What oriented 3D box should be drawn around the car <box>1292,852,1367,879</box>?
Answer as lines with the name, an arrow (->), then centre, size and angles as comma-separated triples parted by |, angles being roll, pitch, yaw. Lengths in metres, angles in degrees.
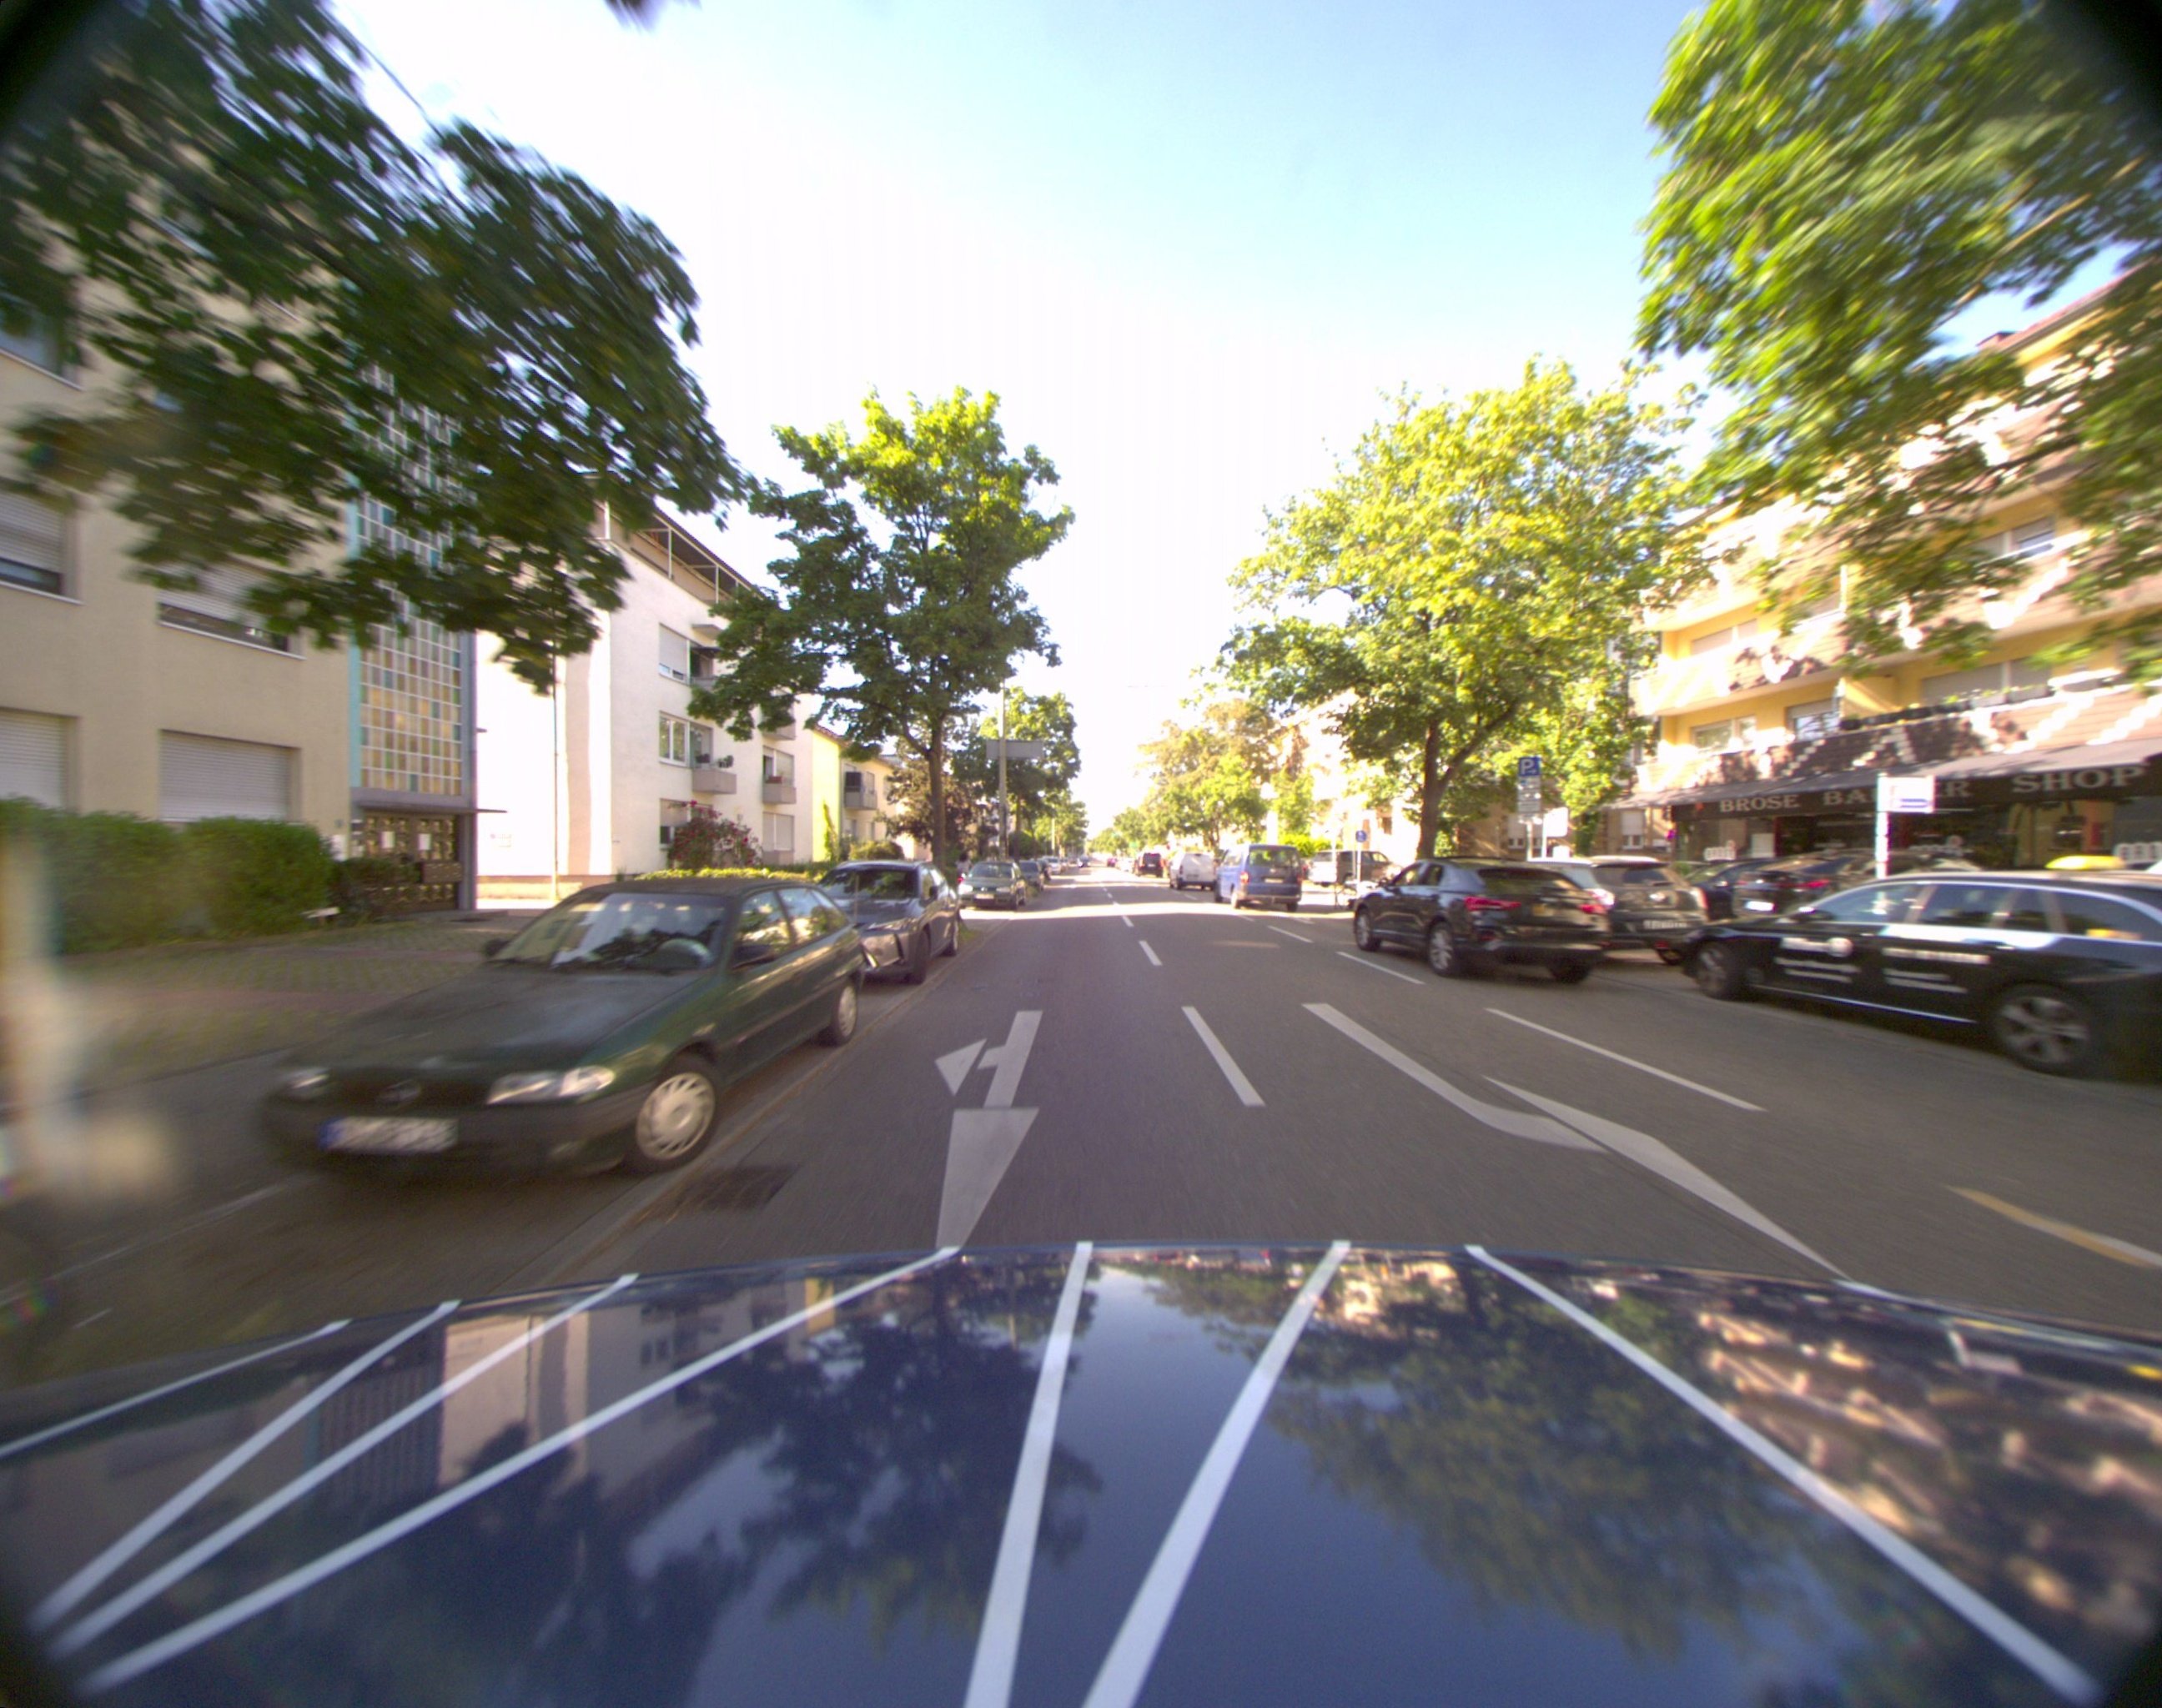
car -> 14.663, 0.671, 44.931 | 3.916, 1.480, 1.633 | -1, 0, 4

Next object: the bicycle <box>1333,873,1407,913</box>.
bicycle -> 8.325, 1.109, 21.882 | 1.932, 1.128, 0.463 | -1, 0, 28

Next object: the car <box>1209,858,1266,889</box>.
car -> 7.669, 0.922, 37.642 | 1.838, 1.381, 4.802 | -1, 0, 0

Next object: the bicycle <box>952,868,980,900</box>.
bicycle -> -4.241, 1.087, 28.077 | 0.684, 1.063, 2.127 | 0, 0, 0

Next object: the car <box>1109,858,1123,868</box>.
car -> 4.970, 1.249, 106.912 | 1.639, 1.395, 3.735 | 2, 0, -2

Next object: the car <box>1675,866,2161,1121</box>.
car -> 7.830, 0.932, 6.586 | 1.726, 1.527, 4.680 | -1, 0, 0

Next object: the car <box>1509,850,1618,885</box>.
car -> 21.555, 0.597, 34.028 | 3.792, 1.480, 1.646 | 0, 2, 0

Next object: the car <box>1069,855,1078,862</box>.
car -> -1.620, 0.897, 168.609 | 1.822, 1.541, 4.304 | 0, 0, 1

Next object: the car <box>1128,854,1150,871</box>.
car -> 5.351, 0.744, 70.666 | 1.696, 1.445, 4.173 | 2, 0, 0

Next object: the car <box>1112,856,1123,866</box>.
car -> 6.224, 1.236, 129.621 | 1.726, 1.607, 4.300 | 3, 0, 1

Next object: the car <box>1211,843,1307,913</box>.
car -> 5.371, 0.659, 23.532 | 1.807, 1.900, 4.711 | 2, 0, 0

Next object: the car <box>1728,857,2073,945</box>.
car -> 14.439, 0.815, 13.633 | 3.994, 1.452, 1.734 | -1, 0, 9

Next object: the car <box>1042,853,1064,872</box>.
car -> -2.399, 0.713, 66.371 | 1.773, 1.649, 4.340 | 1, 0, -1

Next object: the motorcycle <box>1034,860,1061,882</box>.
motorcycle -> -2.085, 1.033, 46.694 | 0.701, 1.264, 2.426 | 1, 0, -27

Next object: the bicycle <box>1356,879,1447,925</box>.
bicycle -> 7.908, 1.171, 18.800 | 2.025, 1.085, 0.463 | -1, 0, 23

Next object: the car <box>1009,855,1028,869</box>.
car -> -6.384, 0.804, 77.924 | 1.535, 1.348, 3.717 | 3, 0, 0

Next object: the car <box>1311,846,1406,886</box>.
car -> 13.877, 0.584, 38.054 | 4.333, 1.868, 1.876 | -1, 0, -23

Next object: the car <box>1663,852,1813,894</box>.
car -> 23.725, 0.678, 27.517 | 3.997, 1.433, 1.647 | 0, -1, 0

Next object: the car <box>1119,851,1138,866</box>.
car -> 5.030, 0.459, 80.660 | 1.737, 1.404, 4.192 | 2, 0, 0

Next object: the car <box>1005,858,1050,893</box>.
car -> -2.364, 0.926, 34.464 | 1.590, 1.388, 4.454 | 1, 0, 1

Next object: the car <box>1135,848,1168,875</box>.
car -> 5.474, 0.554, 59.706 | 2.021, 1.940, 5.177 | 2, 0, -1

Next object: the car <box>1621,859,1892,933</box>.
car -> 14.304, 0.872, 16.381 | 3.991, 1.447, 1.735 | -1, 0, 18

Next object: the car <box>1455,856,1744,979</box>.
car -> 8.004, 0.853, 12.282 | 1.727, 1.587, 4.135 | -1, 0, -2

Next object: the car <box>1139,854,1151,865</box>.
car -> 8.511, 0.729, 101.603 | 1.404, 1.480, 3.685 | -1, 0, 1

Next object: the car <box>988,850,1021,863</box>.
car -> -9.958, 0.341, 99.259 | 3.997, 1.432, 1.831 | 3, 0, 0

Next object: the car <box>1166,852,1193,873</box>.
car -> 8.027, 0.684, 62.226 | 1.629, 1.579, 4.347 | -2, 0, 0

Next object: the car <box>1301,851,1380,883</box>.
car -> 14.061, 0.696, 41.110 | 3.925, 1.635, 1.677 | -1, 0, -24

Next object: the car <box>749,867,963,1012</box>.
car -> -2.762, 0.962, 10.328 | 1.718, 1.480, 4.233 | 0, 0, -1

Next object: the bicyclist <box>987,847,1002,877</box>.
bicyclist -> -5.307, 0.495, 46.594 | 0.726, 1.783, 1.015 | 1, 1, 0

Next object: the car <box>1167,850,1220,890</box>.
car -> 5.327, 0.712, 36.439 | 1.820, 1.733, 4.492 | 2, 0, 0

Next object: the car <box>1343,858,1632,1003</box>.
car -> 5.374, 0.884, 10.819 | 1.723, 1.557, 4.342 | 2, 0, 0

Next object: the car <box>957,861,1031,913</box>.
car -> -2.591, 0.949, 23.545 | 1.696, 1.419, 4.147 | 0, 0, 2

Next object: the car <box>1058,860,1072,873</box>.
car -> -1.923, 1.502, 90.298 | 1.653, 1.395, 3.969 | 2, 0, -1

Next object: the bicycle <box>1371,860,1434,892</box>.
bicycle -> 14.326, 0.940, 33.799 | 3.181, 1.255, 0.949 | -1, 3, -34

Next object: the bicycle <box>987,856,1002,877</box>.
bicycle -> -5.315, 0.778, 46.709 | 0.699, 1.239, 1.822 | 1, 0, 0

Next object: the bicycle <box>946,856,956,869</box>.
bicycle -> -10.907, 0.701, 63.678 | 0.456, 0.987, 1.743 | 2, 1, 0

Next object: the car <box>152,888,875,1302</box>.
car -> -2.710, 1.008, 4.887 | 1.616, 1.375, 3.976 | 0, 0, 1

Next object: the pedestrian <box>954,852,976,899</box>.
pedestrian -> -4.246, 0.784, 27.817 | 0.671, 1.672, 0.776 | 0, 1, 0

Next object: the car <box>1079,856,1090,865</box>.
car -> 0.554, 0.921, 112.701 | 1.654, 1.348, 4.304 | 0, 0, 1

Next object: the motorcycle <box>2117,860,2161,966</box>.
motorcycle -> 16.282, 0.814, 10.563 | 2.153, 1.477, 0.782 | -1, 0, 19

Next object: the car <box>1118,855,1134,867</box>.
car -> 5.641, 0.832, 95.610 | 1.585, 1.443, 3.744 | 0, 0, -2
